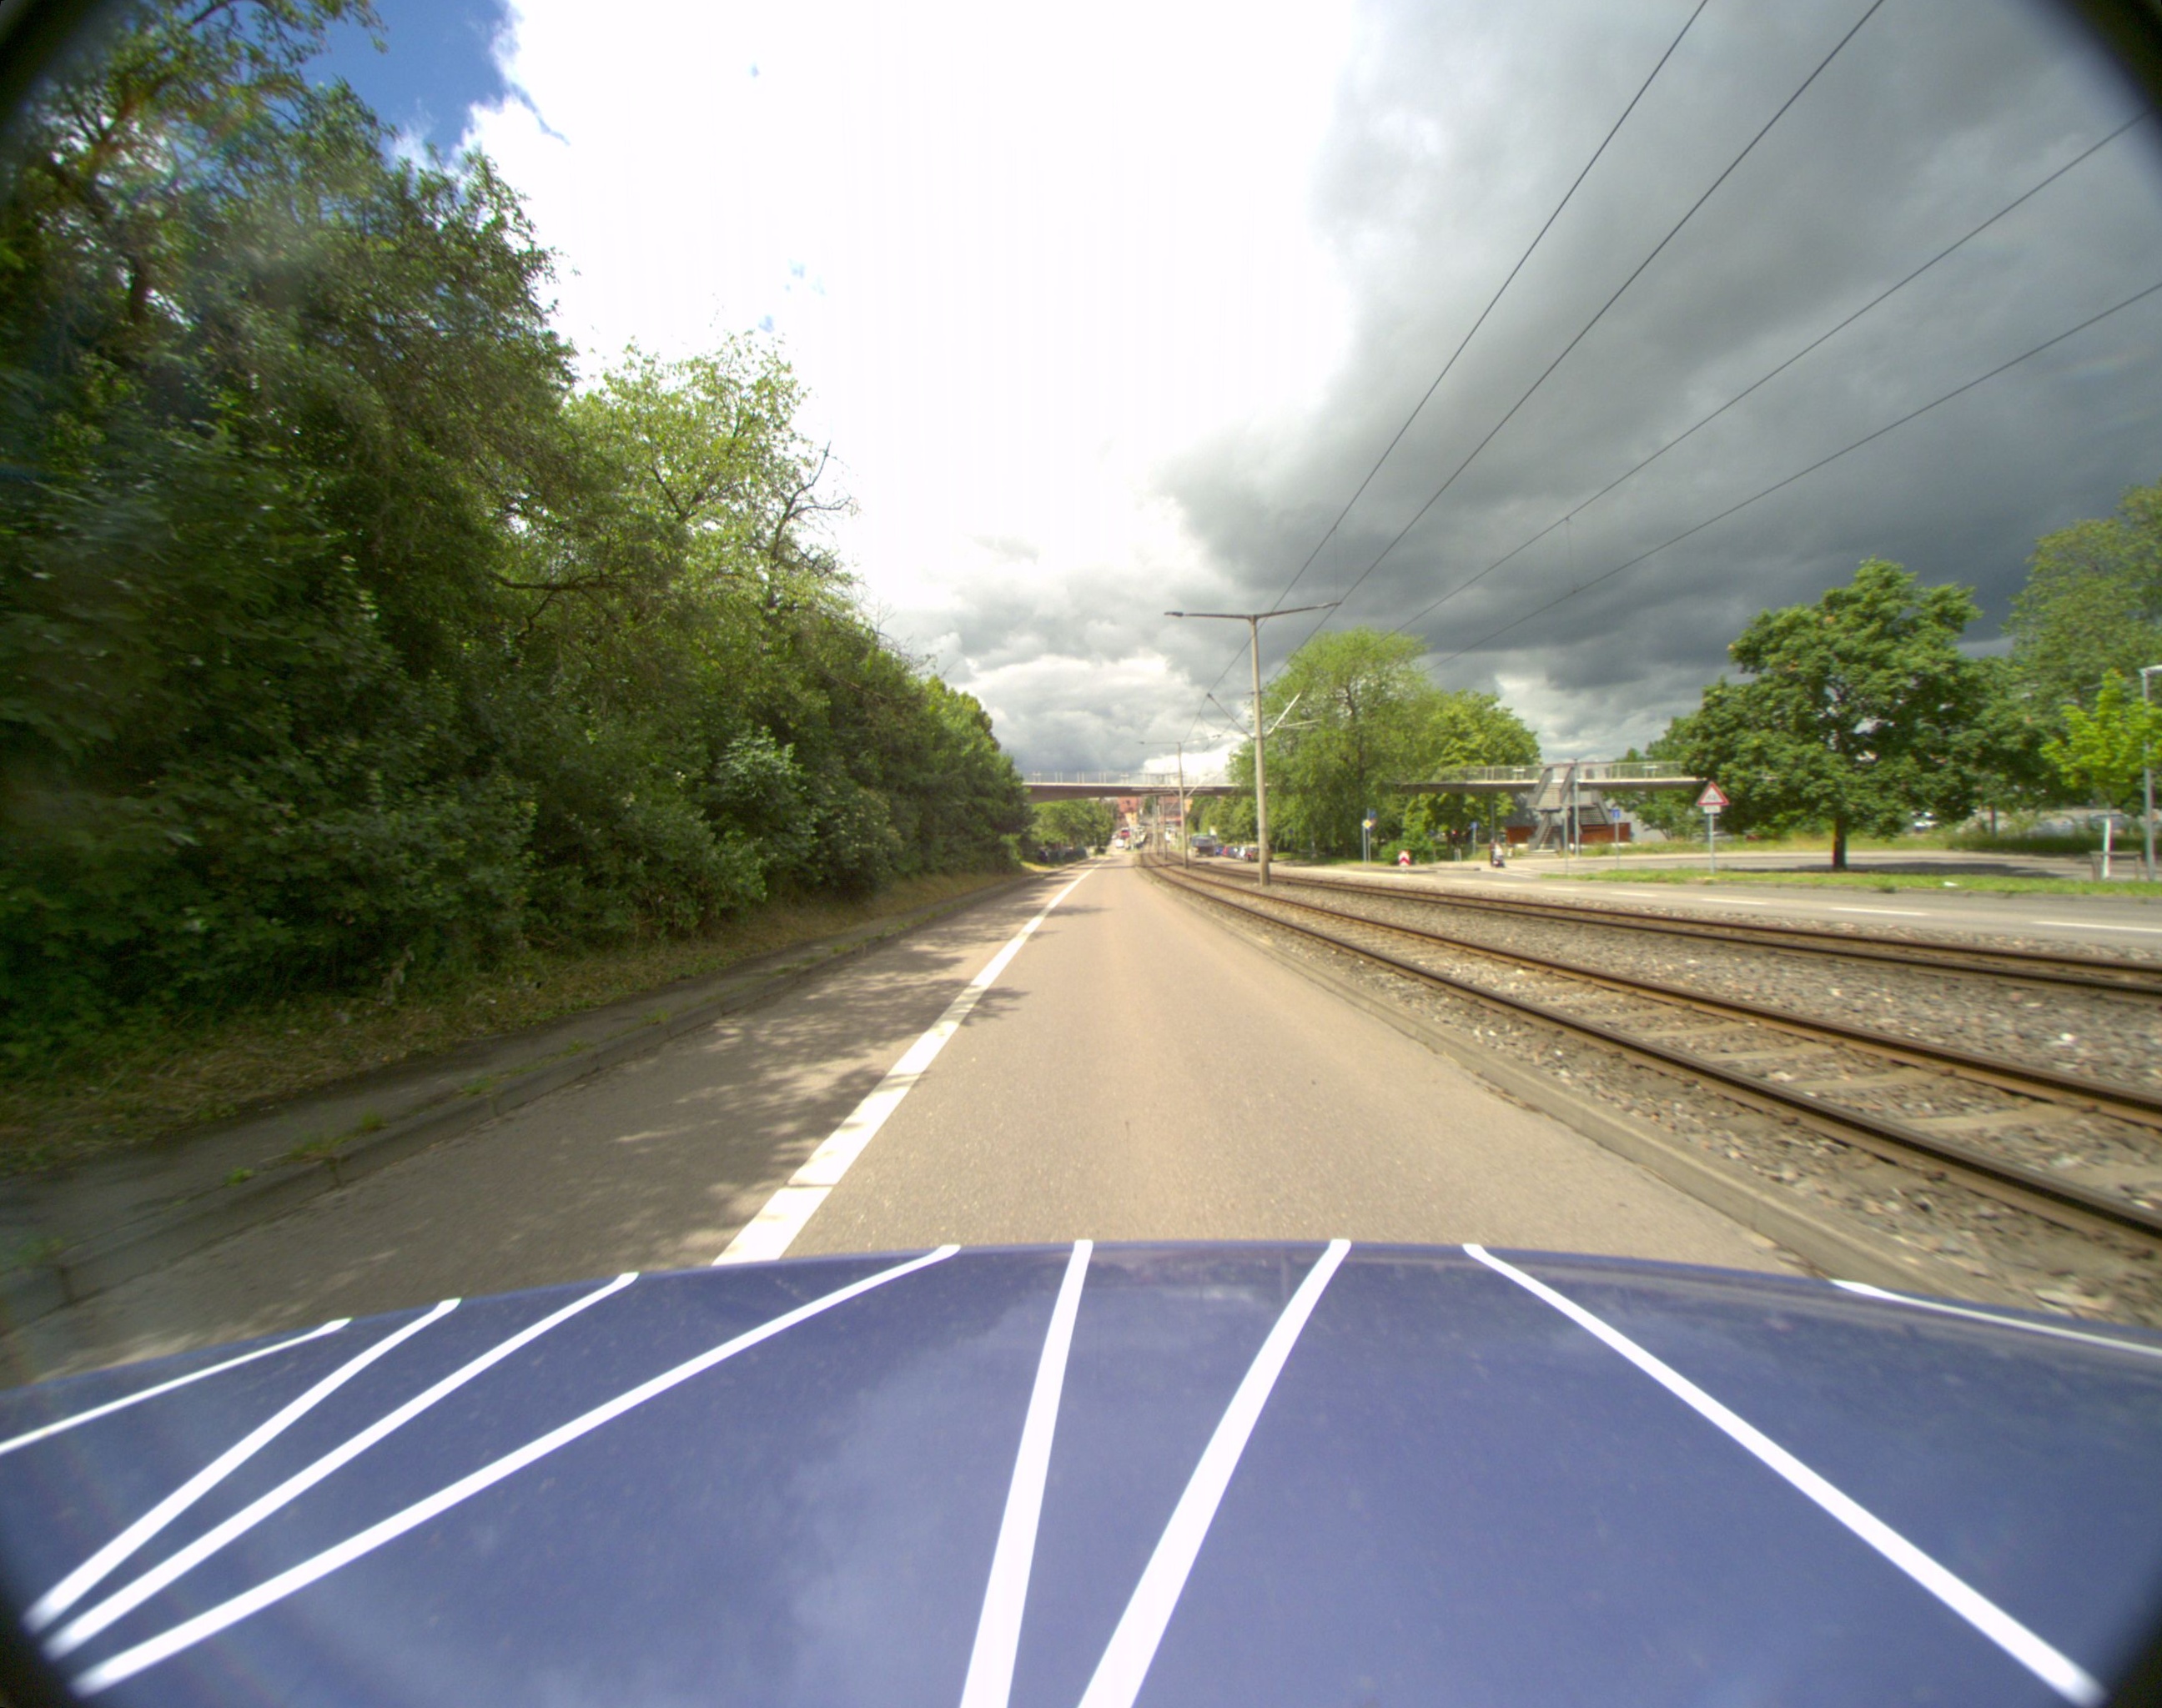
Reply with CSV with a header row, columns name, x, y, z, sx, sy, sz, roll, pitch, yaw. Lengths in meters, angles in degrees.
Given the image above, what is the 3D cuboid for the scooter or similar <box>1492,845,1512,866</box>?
name,x,y,z,sx,sy,sz,roll,pitch,yaw
scooter or similar,24.722,0.077,44.649,0.712,1.141,0.788,-4,3,7

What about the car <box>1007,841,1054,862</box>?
name,x,y,z,sx,sy,sz,roll,pitch,yaw
car,-5.216,-0.289,78.790,4.533,1.662,2.000,6,4,5

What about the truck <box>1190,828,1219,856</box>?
name,x,y,z,sx,sy,sz,roll,pitch,yaw
truck,16.480,-1.694,101.949,2.877,3.301,9.030,-4,2,5

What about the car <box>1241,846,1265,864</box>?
name,x,y,z,sx,sy,sz,roll,pitch,yaw
car,17.188,0.073,76.068,1.693,1.442,3.898,-4,3,5

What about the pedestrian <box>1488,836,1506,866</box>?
name,x,y,z,sx,sy,sz,roll,pitch,yaw
pedestrian,25.005,-0.201,45.726,0.662,1.746,0.718,-4,3,6

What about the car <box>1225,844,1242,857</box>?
name,x,y,z,sx,sy,sz,roll,pitch,yaw
car,18.551,-0.457,92.745,1.560,1.587,4.161,-1,1,5

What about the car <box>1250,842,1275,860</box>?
name,x,y,z,sx,sy,sz,roll,pitch,yaw
car,17.022,-0.279,71.437,1.693,1.442,3.898,-4,3,5
